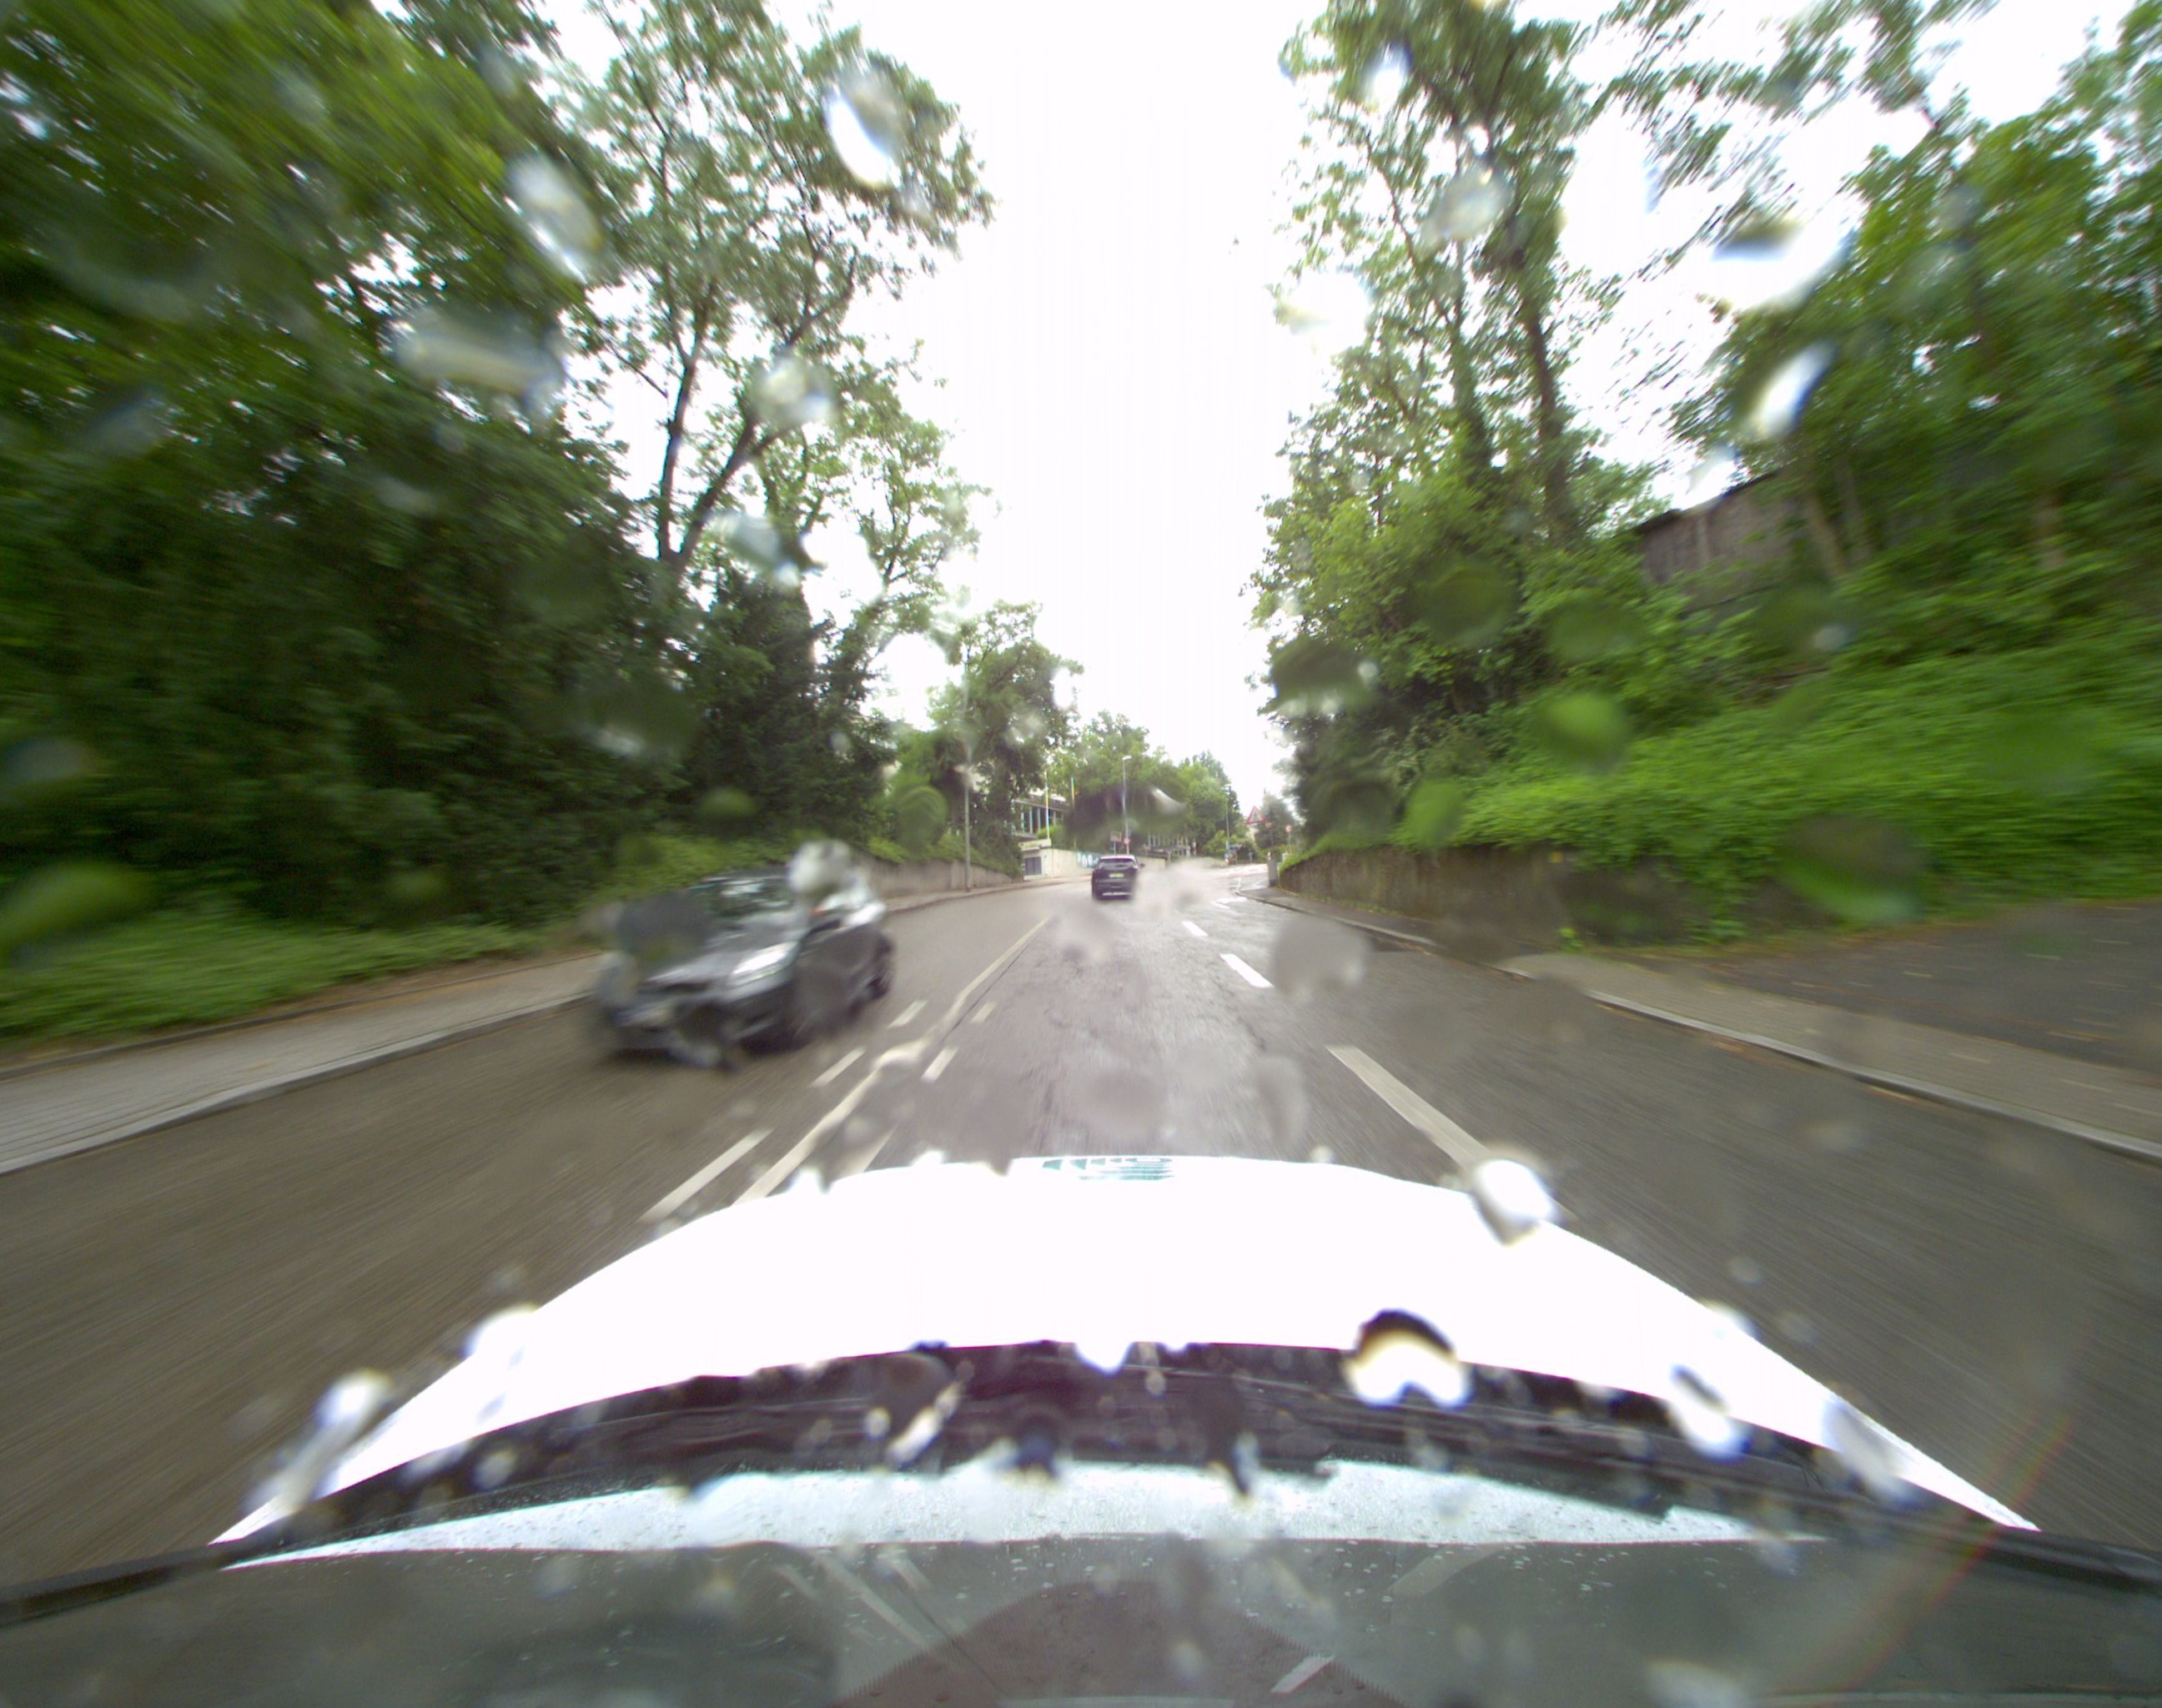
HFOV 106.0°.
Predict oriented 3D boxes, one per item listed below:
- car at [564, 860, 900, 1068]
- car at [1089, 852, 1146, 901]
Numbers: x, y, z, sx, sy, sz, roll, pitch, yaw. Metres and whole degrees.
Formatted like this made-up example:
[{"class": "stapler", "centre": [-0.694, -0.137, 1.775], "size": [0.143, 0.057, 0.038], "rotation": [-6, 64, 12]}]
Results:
[{"class": "car", "centre": [-3.041, 0.849, 7.930], "size": [1.669, 1.496, 3.461], "rotation": [-2, 0, 1]}, {"class": "car", "centre": [1.336, 0.787, 30.428], "size": [1.921, 1.613, 4.001], "rotation": [-2, 0, 1]}]
